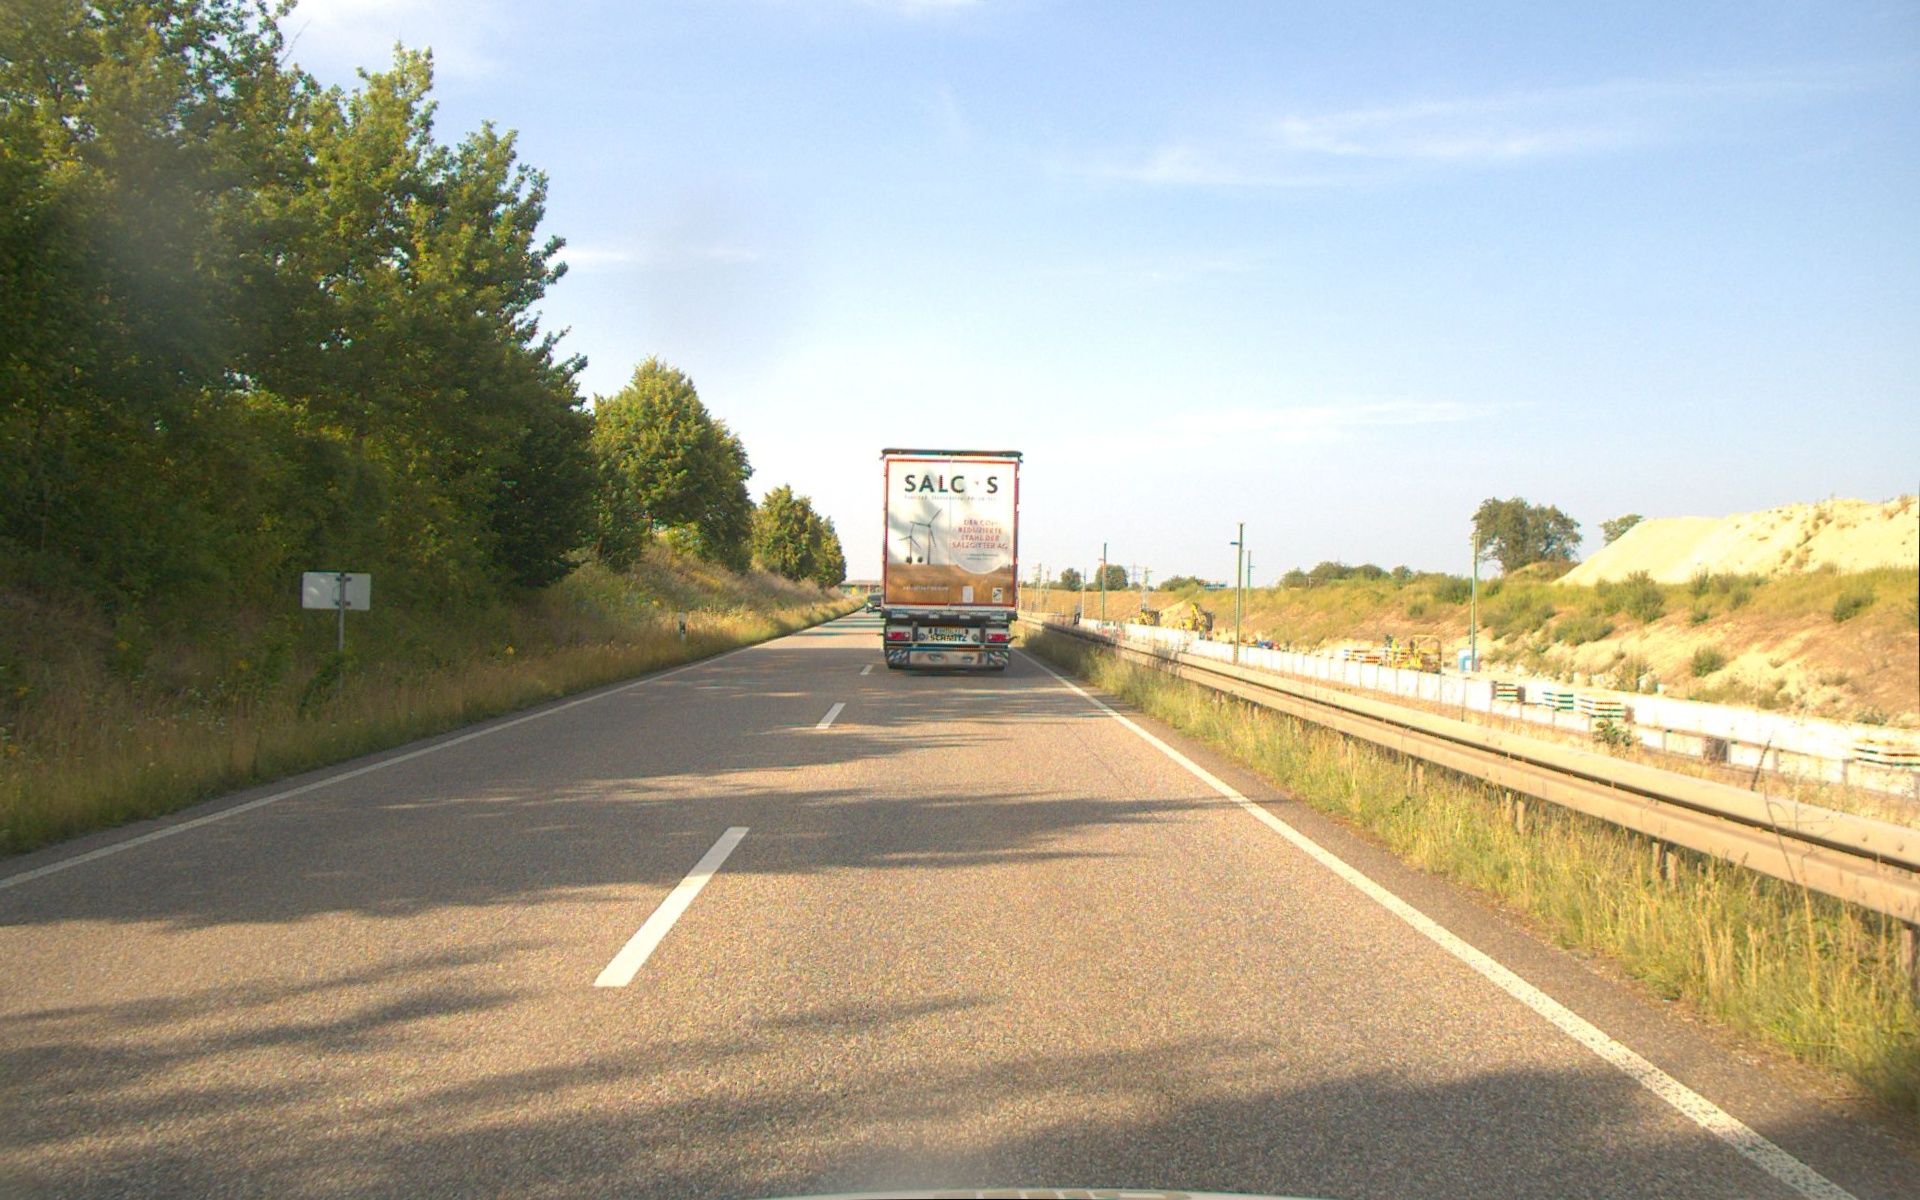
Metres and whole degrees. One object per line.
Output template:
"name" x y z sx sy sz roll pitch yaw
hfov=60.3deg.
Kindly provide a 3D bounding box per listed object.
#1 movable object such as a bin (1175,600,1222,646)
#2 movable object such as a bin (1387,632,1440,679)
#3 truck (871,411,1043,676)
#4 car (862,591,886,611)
"movable object such as a bin" 21.466 2.016 149.342 2.740 3.954 7.534 1 0 -3
"movable object such as a bin" 27.934 3.400 101.920 2.845 2.708 2.019 1 0 23
"truck" -0.146 -1.039 34.236 3.089 4.770 8.439 1 0 -1
"car" -6.768 0.064 130.257 1.708 1.574 4.311 0 0 -1
